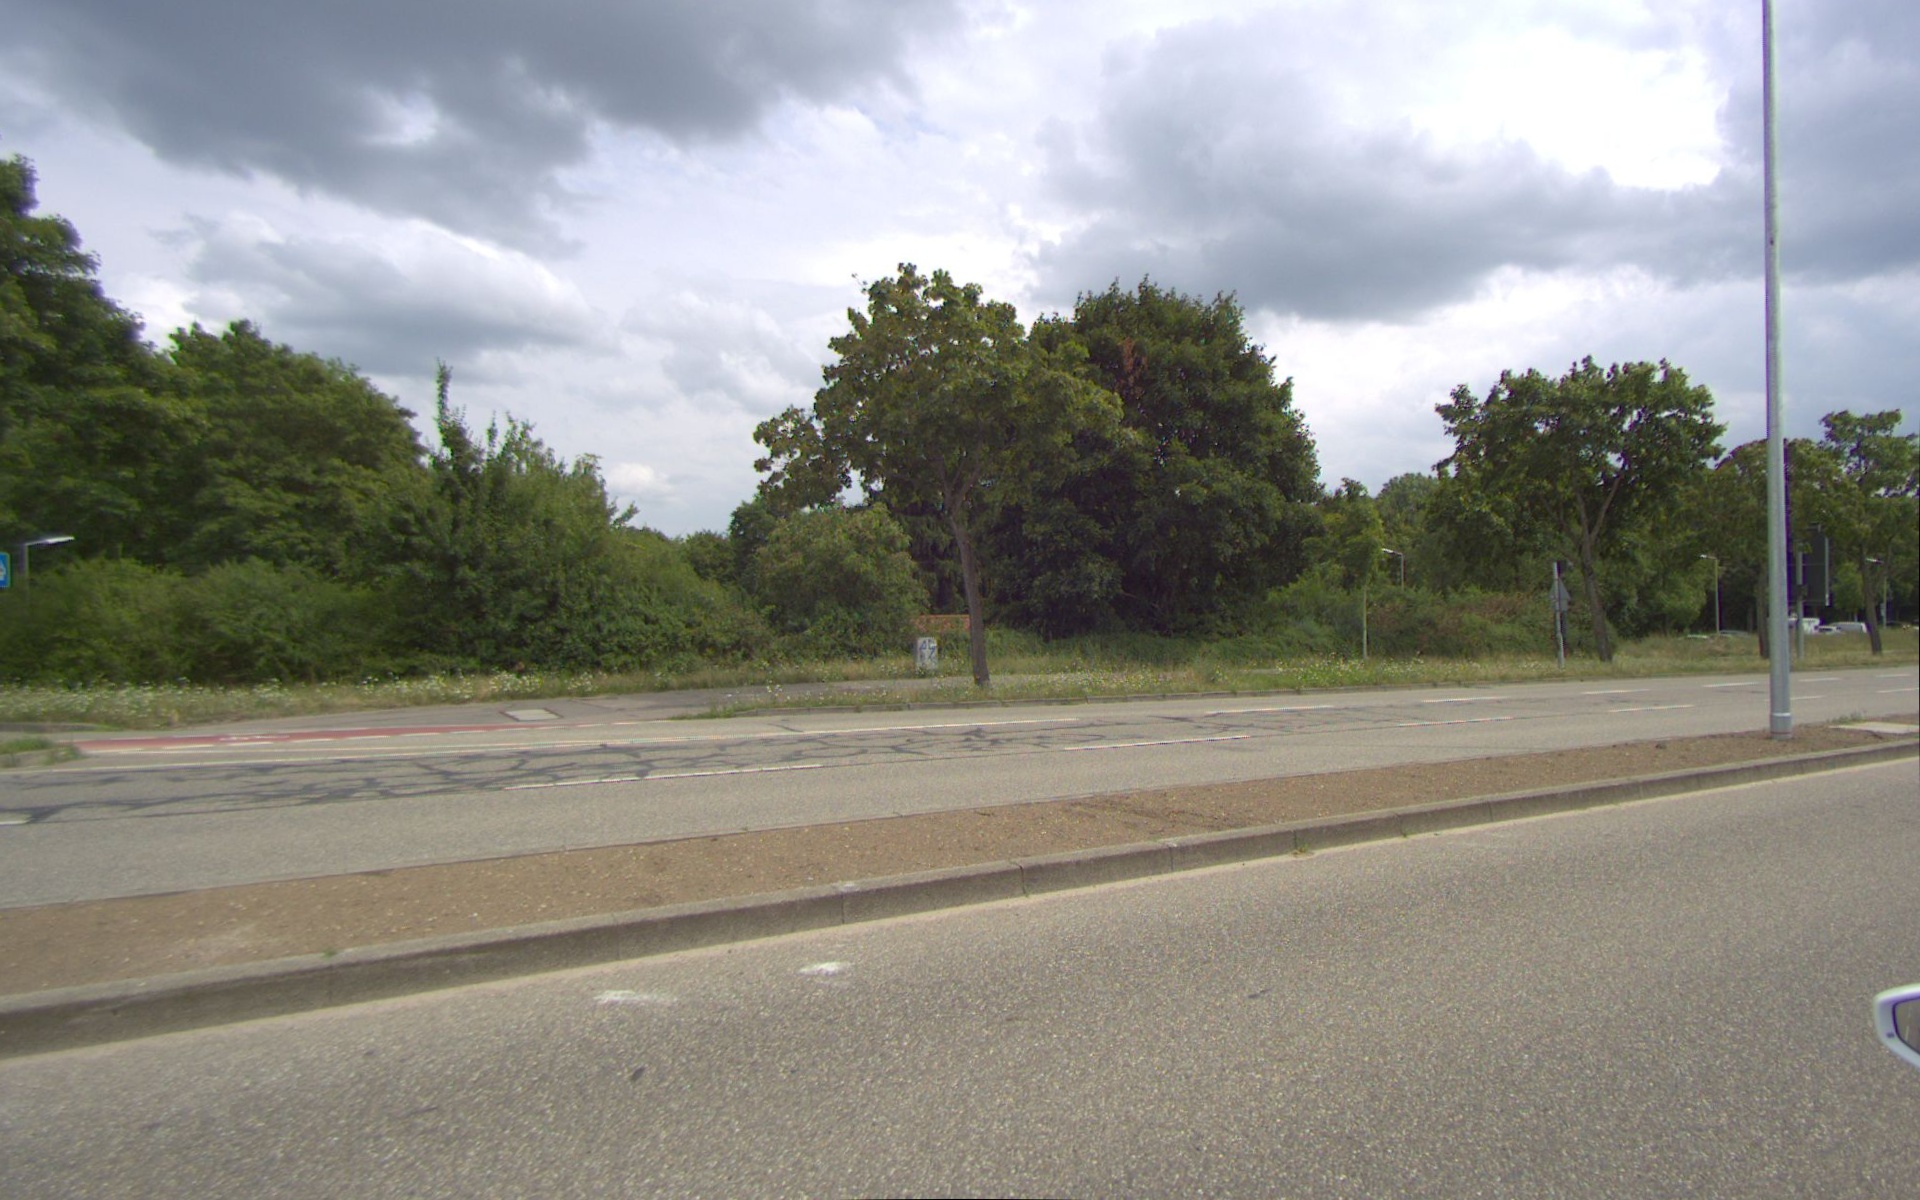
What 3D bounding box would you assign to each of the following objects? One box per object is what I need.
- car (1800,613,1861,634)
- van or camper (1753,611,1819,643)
[{"bbox_3d":[82.540,2.209,95.292,1.918,1.912,3.964,-1,0,-32],"label":"car"},{"bbox_3d":[71.355,2.299,86.745,6.646,2.575,2.458,0,0,-33],"label":"van or camper"}]
